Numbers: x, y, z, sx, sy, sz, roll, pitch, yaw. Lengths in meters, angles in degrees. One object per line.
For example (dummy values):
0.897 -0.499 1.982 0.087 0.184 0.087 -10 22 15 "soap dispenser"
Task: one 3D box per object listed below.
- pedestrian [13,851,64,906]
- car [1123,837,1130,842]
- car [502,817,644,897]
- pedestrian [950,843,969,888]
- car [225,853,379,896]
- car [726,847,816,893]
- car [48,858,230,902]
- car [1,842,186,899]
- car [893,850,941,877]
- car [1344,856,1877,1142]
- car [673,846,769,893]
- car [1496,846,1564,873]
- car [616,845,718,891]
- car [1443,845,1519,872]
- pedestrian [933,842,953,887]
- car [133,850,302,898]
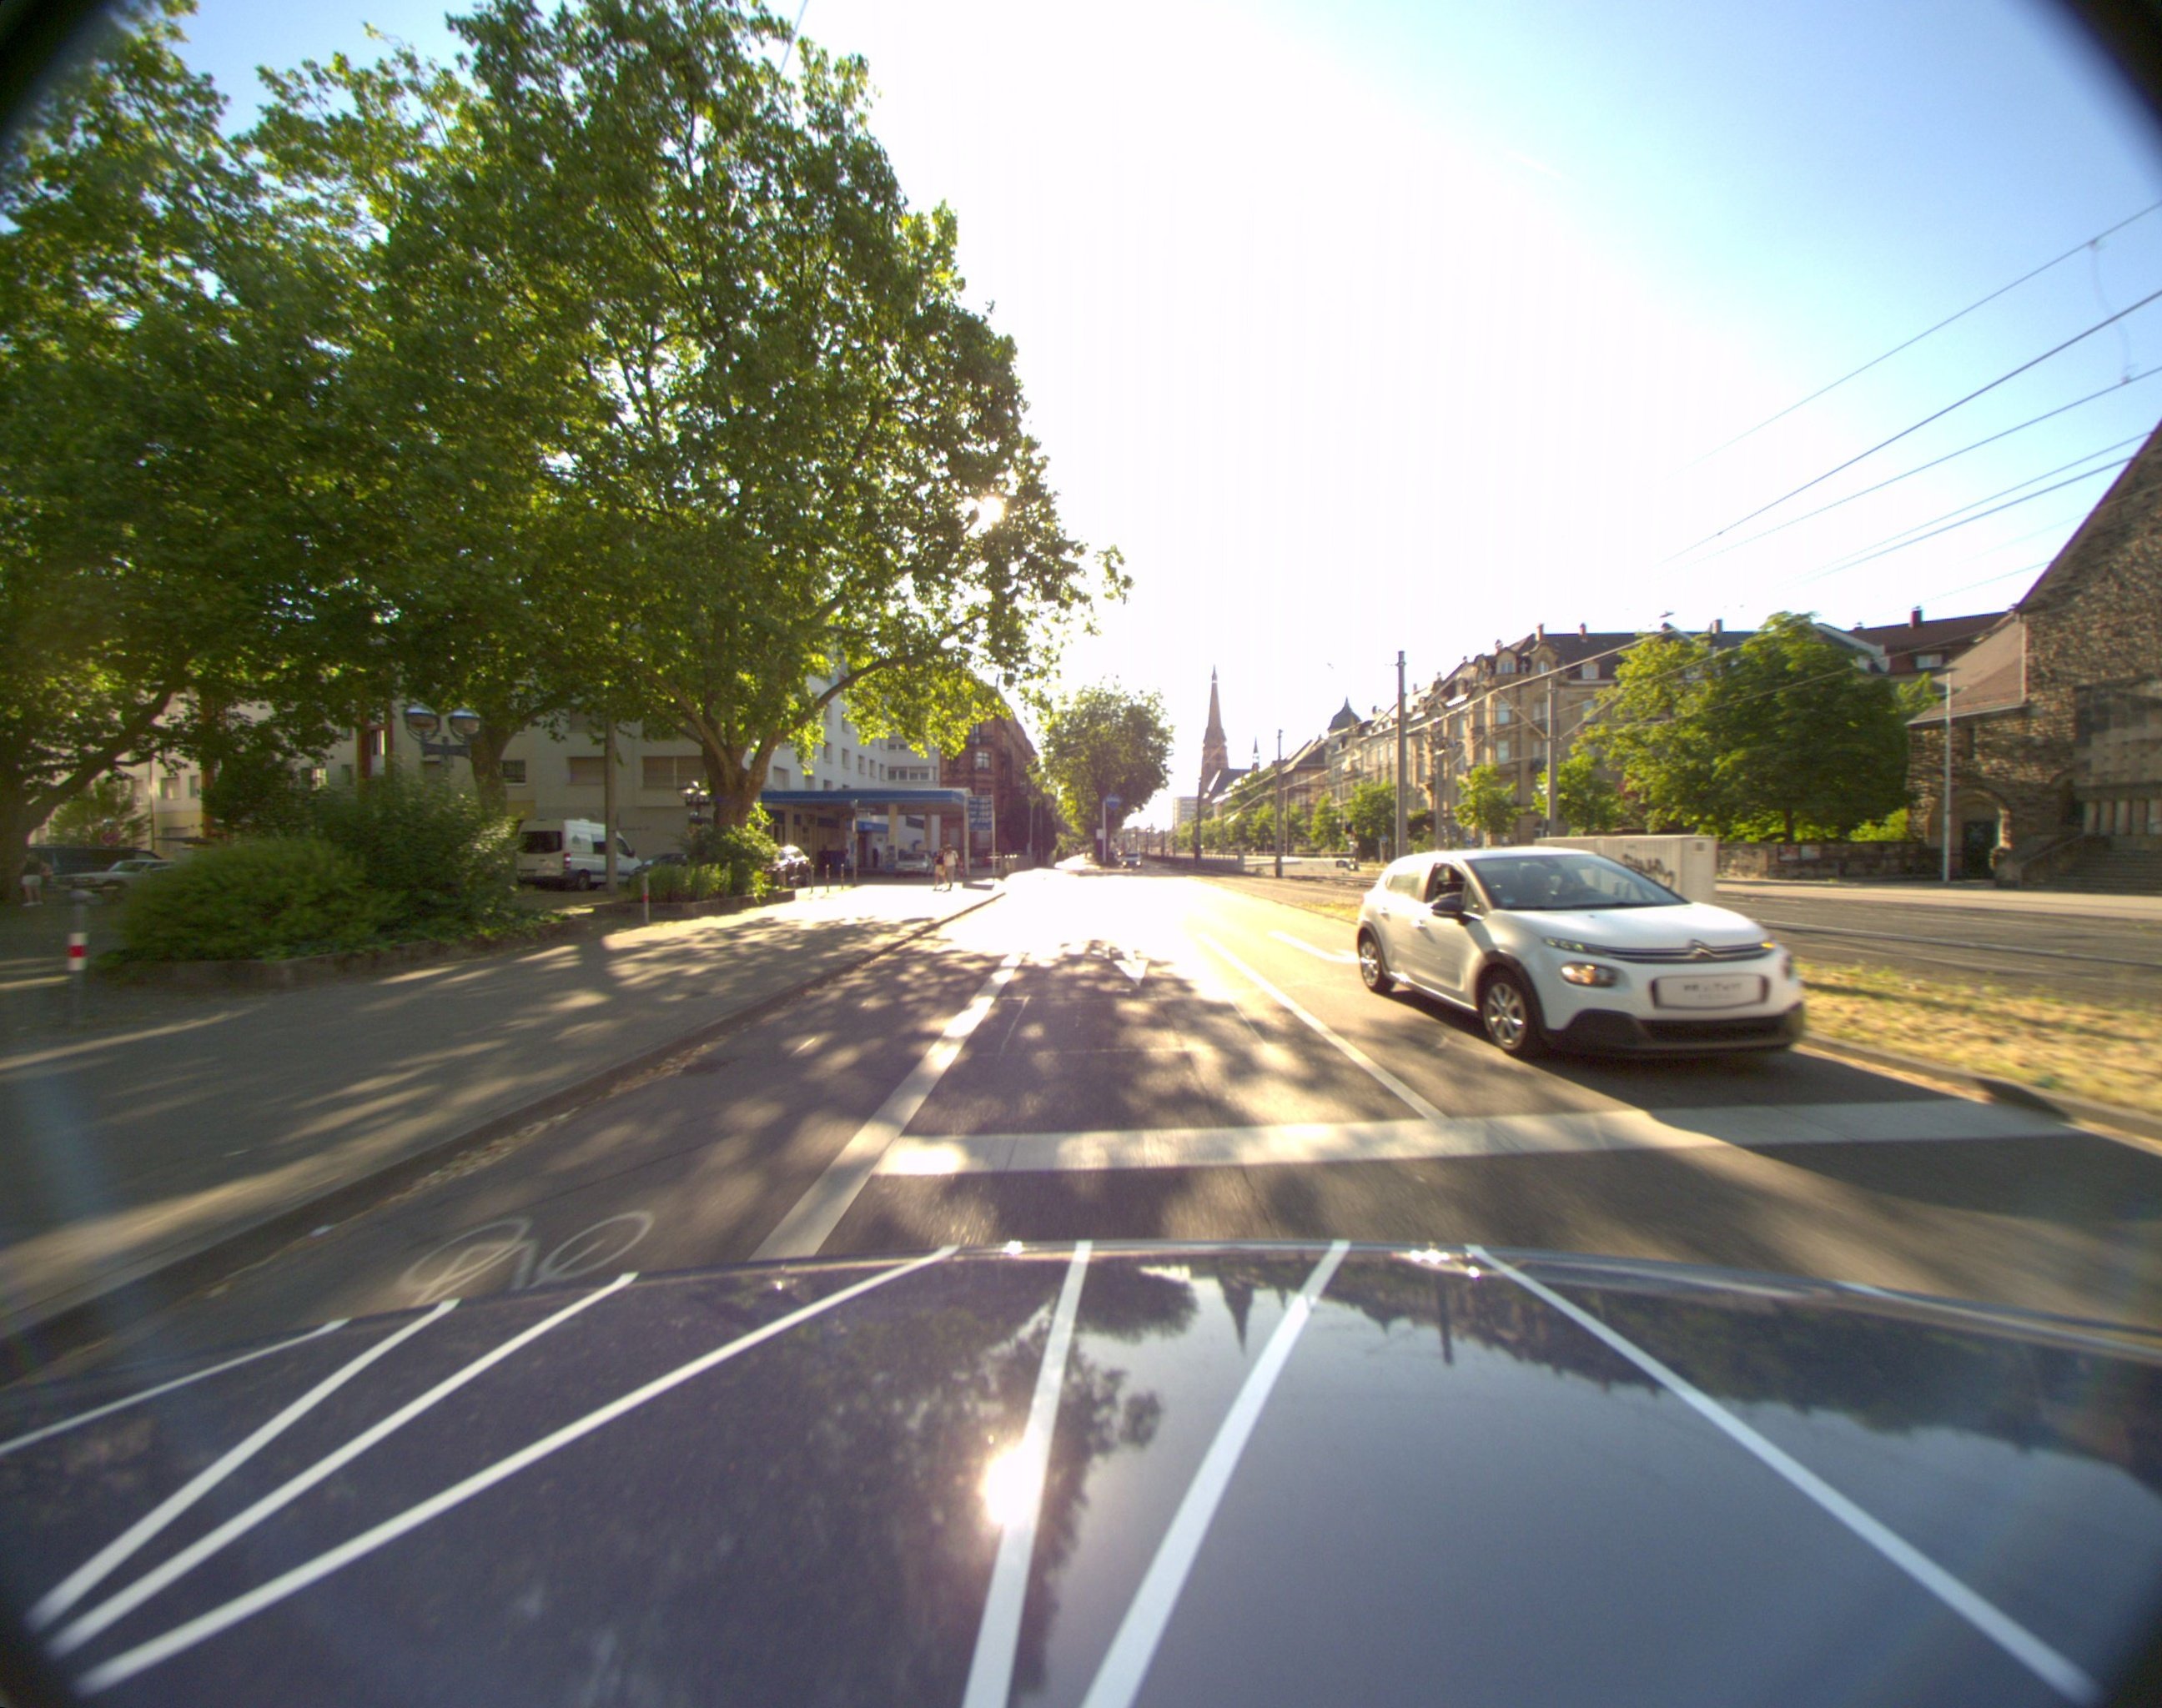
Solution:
-31.075 0.722 22.647 0.539 1.604 0.631 -2 1 4 "pedestrian"
13.660 -4.288 227.991 1.777 1.400 3.999 -2 1 1 "car"
-19.147 0.057 28.947 1.998 2.726 4.714 -2 1 1 "car"
-5.055 0.469 31.585 0.631 1.833 0.540 -2 1 -1 "pedestrian"
-29.964 0.734 29.439 1.710 1.493 4.179 -1 0 -2 "car"
-11.689 0.557 28.960 1.807 1.591 4.179 -1 0 -2 "car"
-35.498 0.932 28.839 1.710 1.493 4.179 -1 0 -2 "car"
-37.856 0.596 29.327 1.710 2.015 4.179 -1 0 -2 "car"
-9.093 0.498 42.318 1.720 1.319 3.753 -2 1 1 "car"
3.700 0.833 6.307 1.636 1.491 3.999 -2 1 1 "car"
-13.832 0.546 29.475 1.807 1.649 4.179 -1 0 -2 "car"
27.745 0.303 47.145 1.786 1.521 4.213 -2 1 1 "car"
-16.030 0.511 29.689 1.807 1.649 4.179 -1 0 -2 "car"
22.768 0.199 43.430 1.998 1.419 4.553 1 1 1 "car"
-5.721 0.443 31.514 0.631 1.833 0.540 -2 1 -1 "pedestrian"
-32.833 0.704 29.101 1.710 1.650 4.179 -1 0 -2 "car"
